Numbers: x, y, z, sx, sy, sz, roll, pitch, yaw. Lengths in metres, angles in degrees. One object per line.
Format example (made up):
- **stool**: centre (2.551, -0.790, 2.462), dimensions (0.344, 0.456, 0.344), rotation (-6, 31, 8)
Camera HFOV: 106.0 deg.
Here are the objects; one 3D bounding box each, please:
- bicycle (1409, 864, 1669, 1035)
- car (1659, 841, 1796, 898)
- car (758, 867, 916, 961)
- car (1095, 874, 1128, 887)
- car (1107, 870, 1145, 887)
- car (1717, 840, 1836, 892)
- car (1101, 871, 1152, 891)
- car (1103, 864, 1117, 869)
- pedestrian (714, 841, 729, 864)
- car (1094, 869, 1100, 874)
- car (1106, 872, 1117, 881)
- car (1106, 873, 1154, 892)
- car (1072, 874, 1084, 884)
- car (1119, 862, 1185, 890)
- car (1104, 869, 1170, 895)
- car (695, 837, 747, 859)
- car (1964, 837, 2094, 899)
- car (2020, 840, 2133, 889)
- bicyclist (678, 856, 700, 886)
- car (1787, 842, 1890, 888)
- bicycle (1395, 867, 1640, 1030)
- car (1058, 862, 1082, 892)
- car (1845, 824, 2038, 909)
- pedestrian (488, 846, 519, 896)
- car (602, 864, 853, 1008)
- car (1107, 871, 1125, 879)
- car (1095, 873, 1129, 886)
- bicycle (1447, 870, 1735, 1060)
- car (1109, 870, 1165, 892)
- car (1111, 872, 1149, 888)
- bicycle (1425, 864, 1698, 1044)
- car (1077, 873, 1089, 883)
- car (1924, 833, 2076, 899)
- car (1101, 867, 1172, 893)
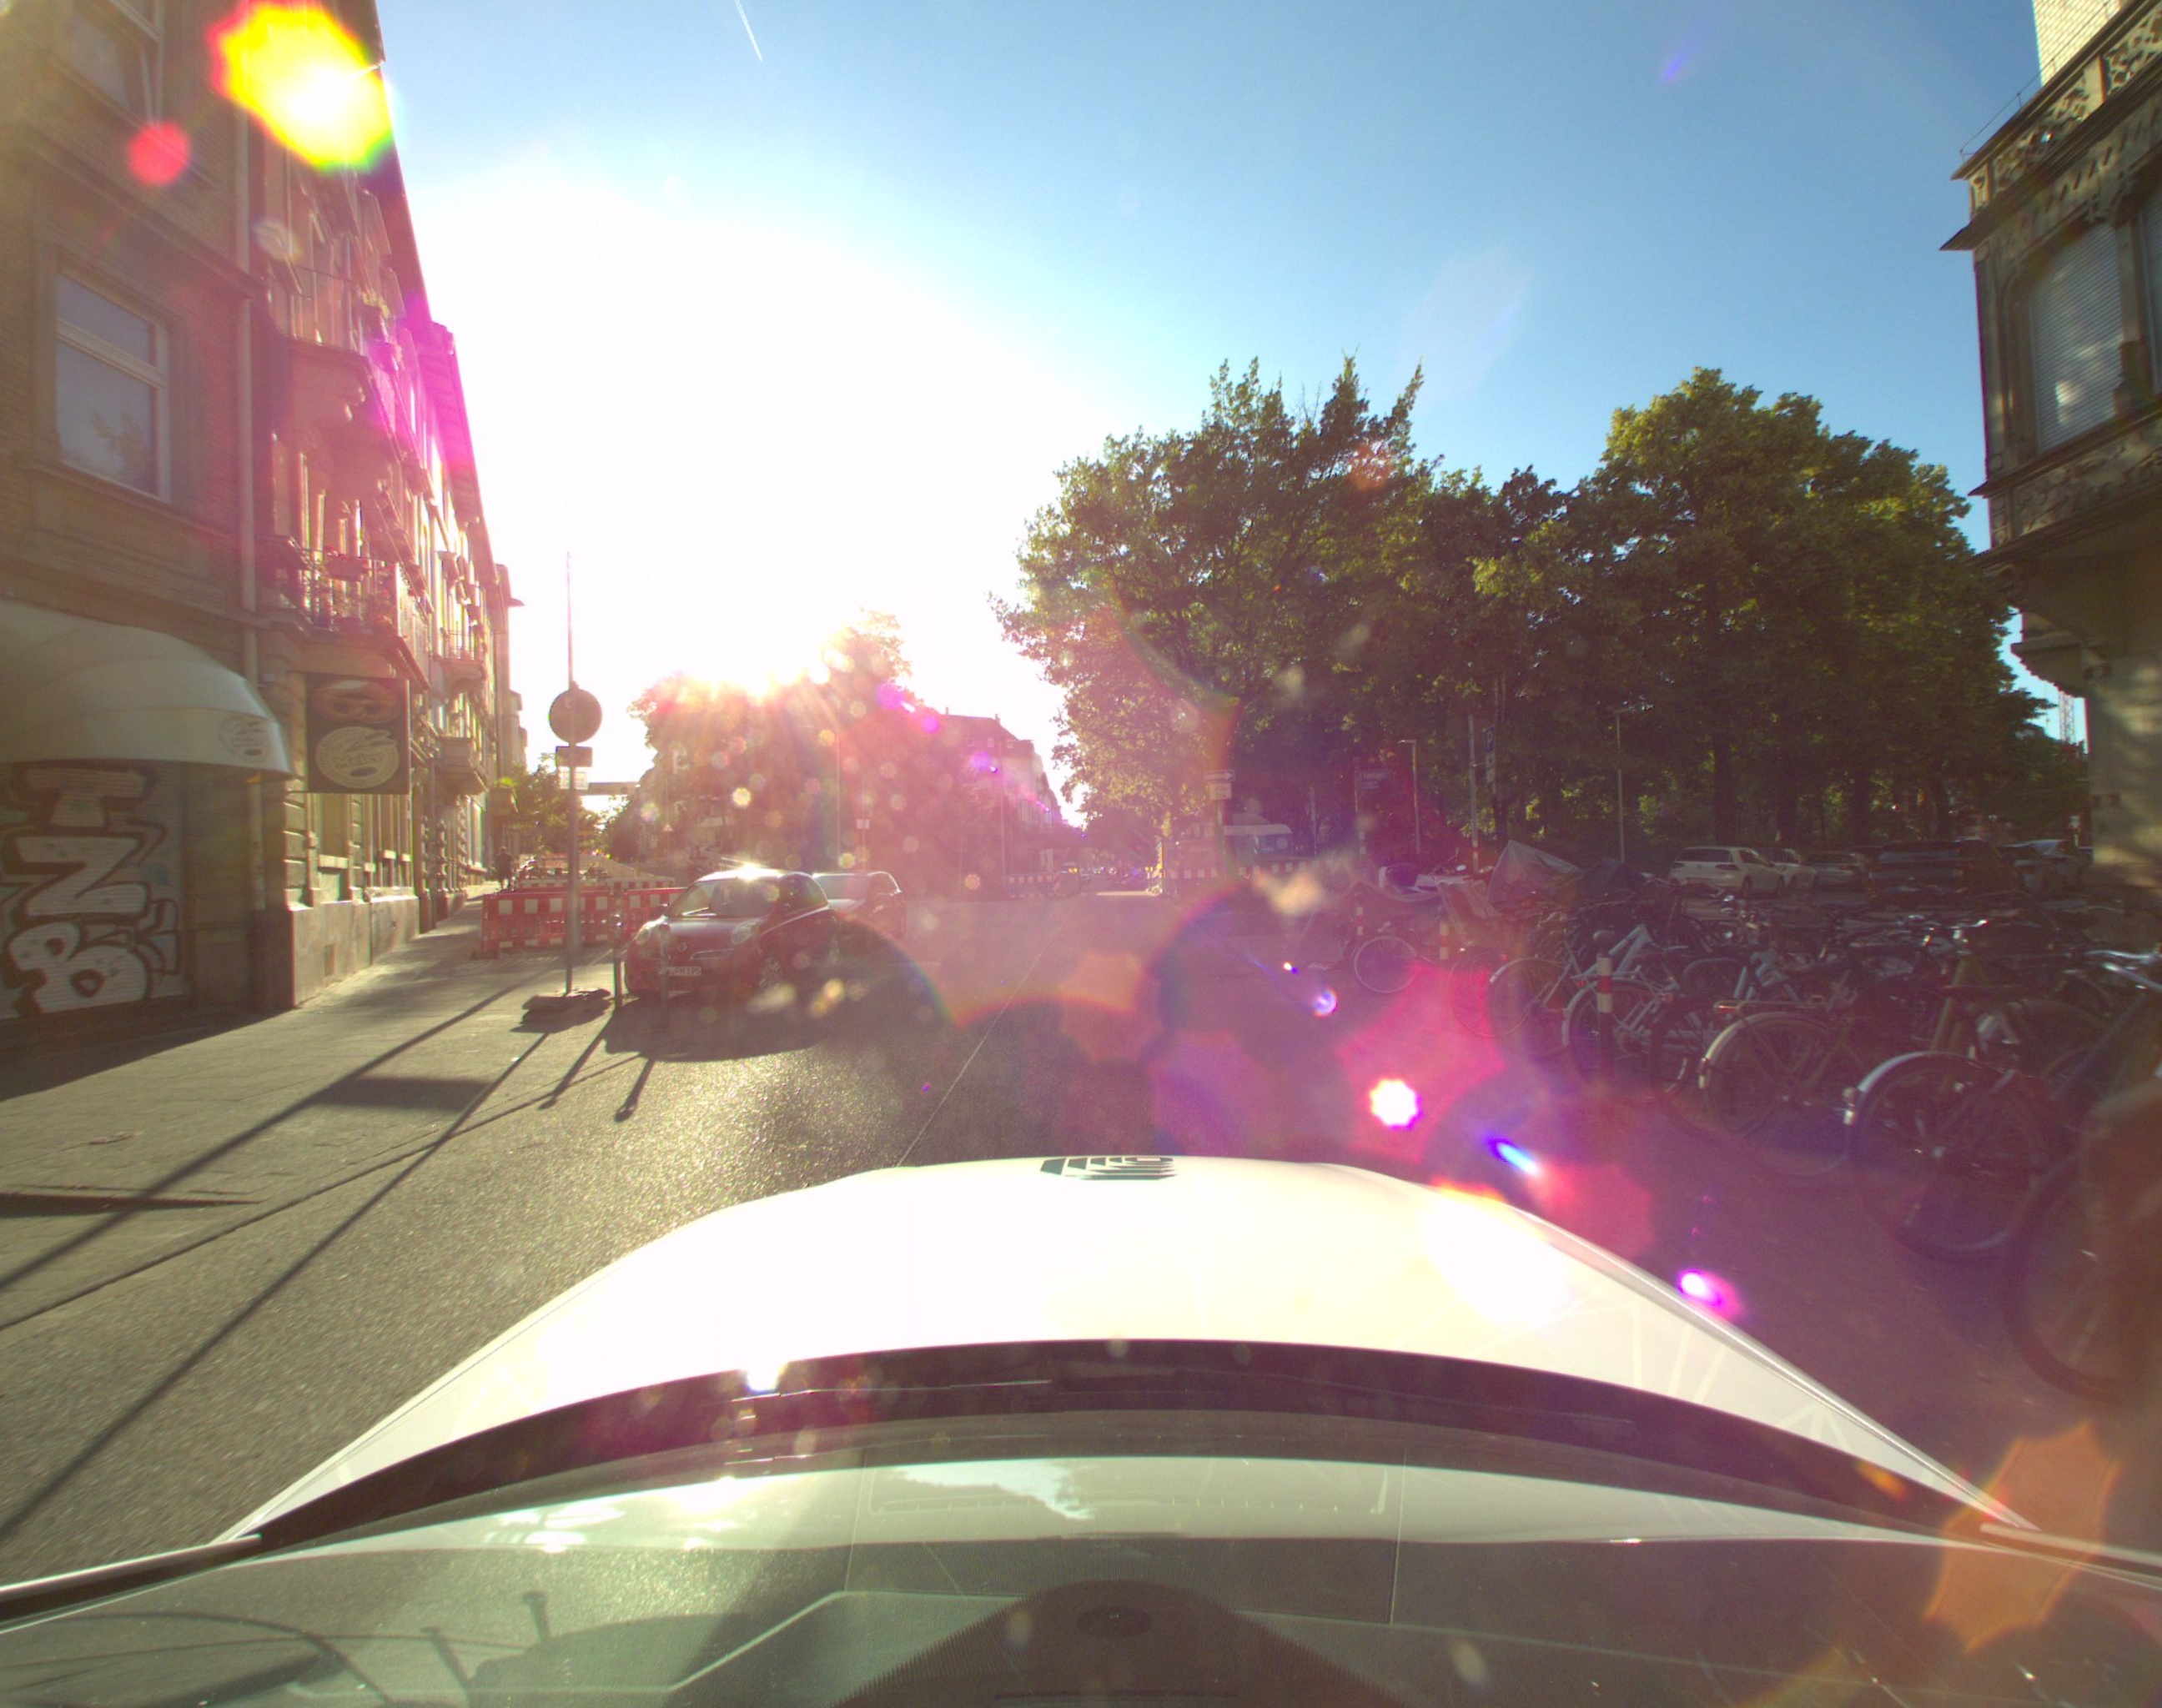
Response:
- **bicycle**: centre (3.629, 0.735, 6.476), dimensions (1.920, 1.246, 0.302), rotation (-2, 0, -5)
- **car**: centre (17.985, 0.443, 22.619), dimensions (4.016, 1.413, 1.861), rotation (2, 1, -35)
- **car**: centre (-4.471, 1.033, 15.568), dimensions (1.663, 1.458, 4.001), rotation (-2, 0, 2)
- **car**: centre (4.190, 3.633, 112.359), dimensions (4.374, 1.610, 1.779), rotation (-1, -3, -1)
- **car**: centre (5.383, 2.954, 98.131), dimensions (4.374, 1.862, 1.915), rotation (-1, -3, -1)
- **car**: centre (21.802, 0.386, 25.497), dimensions (4.016, 1.463, 1.861), rotation (2, 1, -35)
- **car**: centre (4.025, 2.438, 72.643), dimensions (4.374, 1.702, 1.915), rotation (-1, -3, -1)
- **car**: centre (8.894, 3.910, 251.316), dimensions (4.371, 1.610, 1.781), rotation (-1, -3, 1)
- **pedestrian**: centre (-28.635, -0.133, 64.906), dimensions (0.863, 1.763, 1.080), rotation (-1, -1, -36)
- **car**: centre (4.723, 5.239, 240.883), dimensions (1.806, 1.398, 3.975), rotation (-4, -3, 1)
- **car**: centre (5.516, 4.024, 147.126), dimensions (1.768, 1.609, 4.403), rotation (-2, -2, 2)
- **car**: centre (4.620, 2.737, 77.167), dimensions (4.374, 1.702, 1.915), rotation (-1, -3, -1)
- **car**: centre (-0.435, 3.991, 128.027), dimensions (1.806, 1.398, 3.975), rotation (-4, -3, 1)
- **car**: centre (5.281, 1.643, 60.887), dimensions (4.729, 1.997, 1.915), rotation (-1, -3, -2)
- **car**: centre (3.837, 1.969, 56.356), dimensions (4.374, 1.702, 1.915), rotation (-1, -3, -1)
- **car**: centre (-34.306, -0.576, 77.708), dimensions (4.384, 2.013, 1.921), rotation (-1, 0, -21)
- **car**: centre (26.932, 0.428, 23.116), dimensions (4.014, 1.520, 1.753), rotation (1, -6, -33)
- **car**: centre (32.186, 0.366, 26.316), dimensions (4.014, 1.378, 1.753), rotation (1, -6, -33)
- **bicyclist**: centre (-18.676, 0.796, 38.825), dimensions (0.809, 1.383, 0.975), rotation (-1, -1, -34)
- **car**: centre (27.017, 0.397, 29.021), dimensions (4.016, 1.463, 1.861), rotation (2, 1, -35)
- **bicycle**: centre (3.629, 0.766, 6.790), dimensions (1.902, 1.246, 0.302), rotation (-2, 0, -5)
- **car**: centre (-0.943, 2.087, 71.020), dimensions (2.041, 2.498, 5.694), rotation (-1, -3, 0)
- **car**: centre (16.975, 0.307, 16.014), dimensions (4.384, 1.378, 1.977), rotation (1, -6, -36)
- **pedestrian**: centre (-23.737, 0.680, 33.476), dimensions (0.946, 2.013, 0.949), rotation (-2, 0, -32)
- **car**: centre (-4.513, 0.944, 11.115), dimensions (1.664, 1.530, 3.999), rotation (-2, 0, 0)
- **car**: centre (8.593, 5.136, 199.282), dimensions (4.371, 1.610, 1.781), rotation (-1, -3, 1)
- **car**: centre (4.032, 3.294, 106.249), dimensions (4.374, 1.610, 1.779), rotation (-1, -3, -1)
- **bicycle**: centre (3.651, 0.772, 5.856), dimensions (1.920, 1.246, 0.302), rotation (-2, 0, -5)
- **car**: centre (4.549, 2.224, 66.335), dimensions (4.374, 1.702, 1.915), rotation (-1, -3, -1)
- **car**: centre (5.737, 3.109, 96.077), dimensions (4.374, 1.785, 1.915), rotation (-1, -3, -1)
- **bicycle**: centre (3.627, 0.736, 6.170), dimensions (1.920, 1.246, 0.302), rotation (-2, 0, -5)
- **car**: centre (0.330, 3.921, 133.072), dimensions (1.806, 1.398, 3.975), rotation (-4, -3, 1)
- **car**: centre (22.357, 0.328, 19.791), dimensions (4.014, 1.378, 1.753), rotation (1, -6, -33)
- **car**: centre (3.553, 1.683, 52.426), dimensions (4.376, 1.606, 1.914), rotation (-1, -3, -3)
